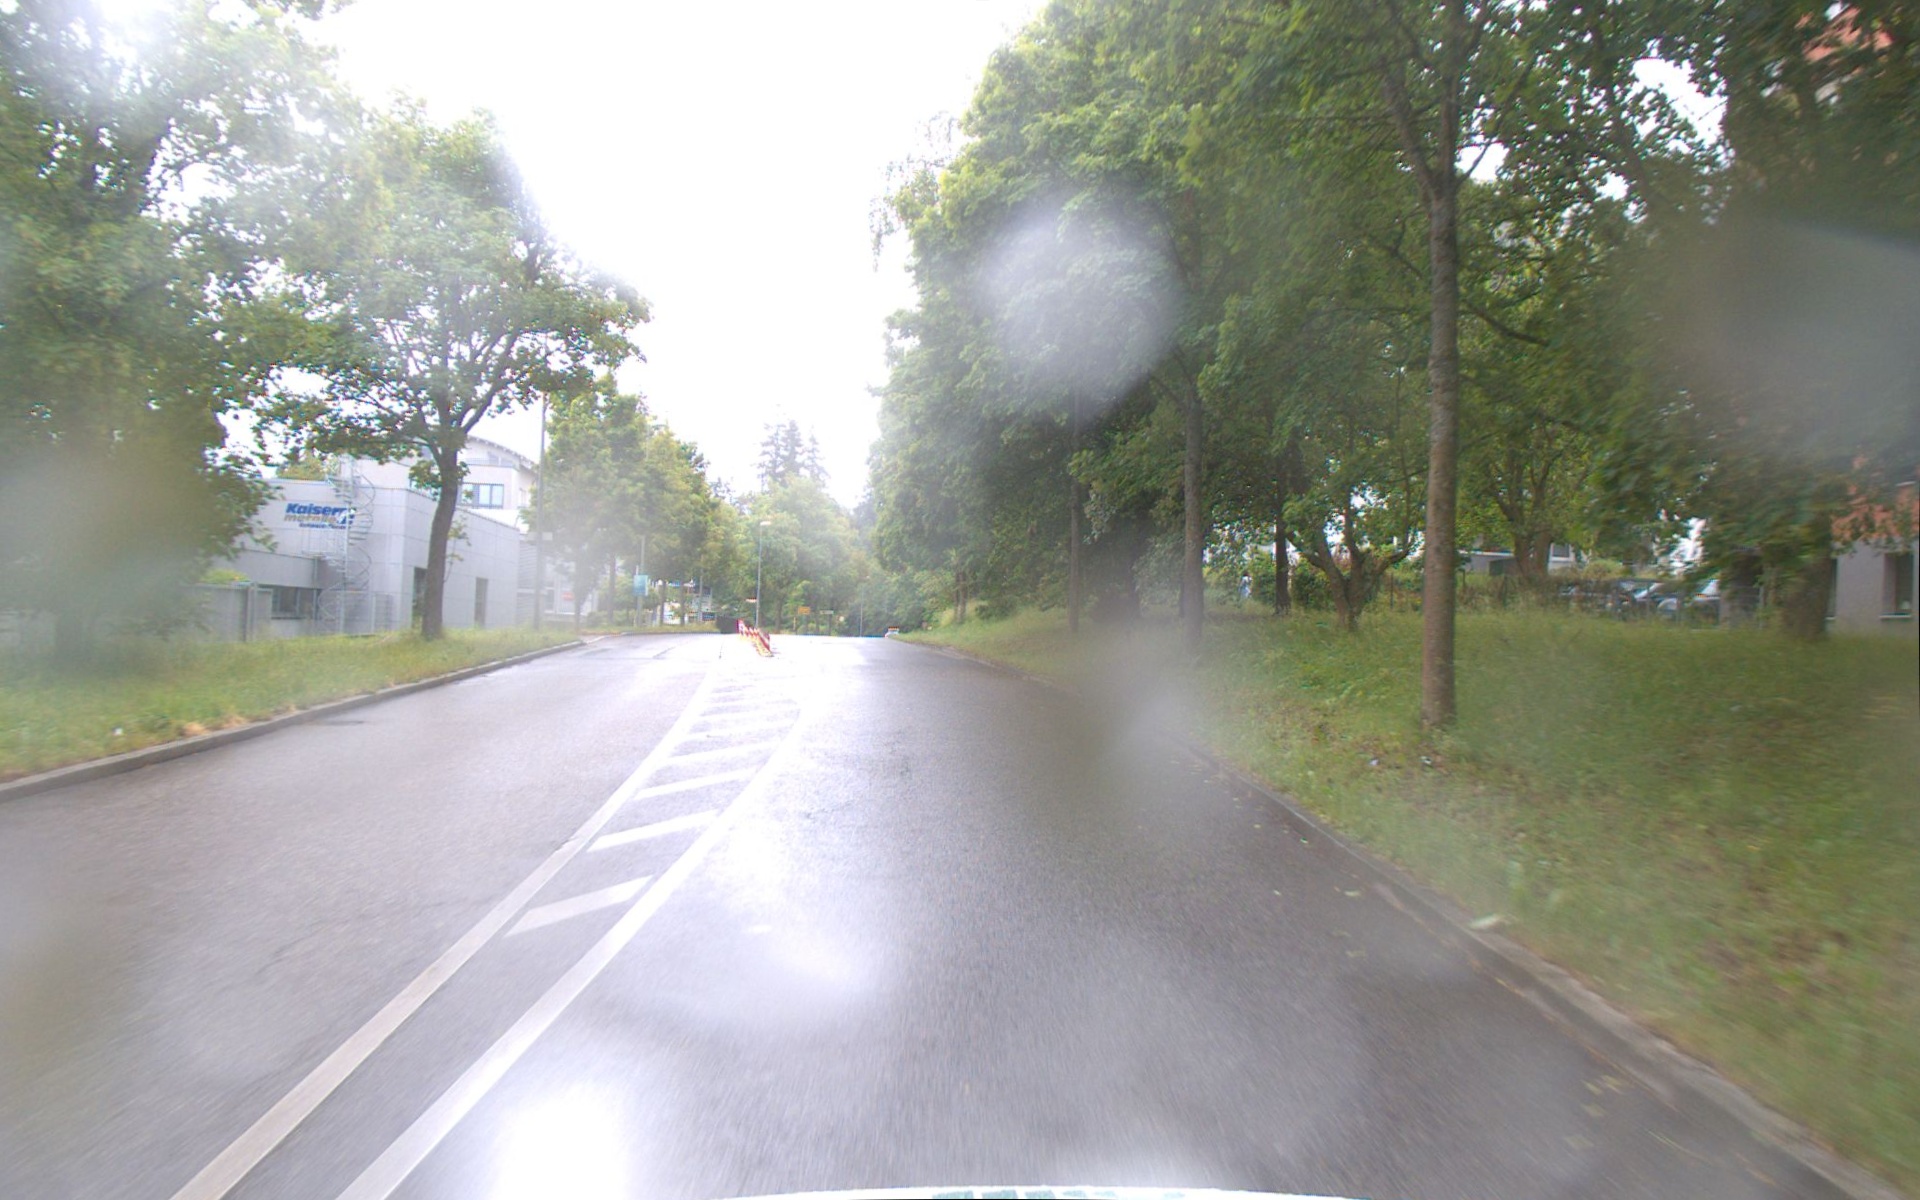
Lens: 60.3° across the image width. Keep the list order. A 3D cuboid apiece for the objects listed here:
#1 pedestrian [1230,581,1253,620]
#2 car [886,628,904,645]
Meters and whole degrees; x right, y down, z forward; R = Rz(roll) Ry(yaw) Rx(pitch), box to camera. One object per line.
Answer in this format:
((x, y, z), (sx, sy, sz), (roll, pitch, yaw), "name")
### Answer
((9.502, 0.007, 55.836), (0.641, 1.306, 0.624), (0, 0, -1), "pedestrian")
((-6.181, 3.497, 157.615), (1.702, 1.537, 3.998), (0, -2, -2), "car")
